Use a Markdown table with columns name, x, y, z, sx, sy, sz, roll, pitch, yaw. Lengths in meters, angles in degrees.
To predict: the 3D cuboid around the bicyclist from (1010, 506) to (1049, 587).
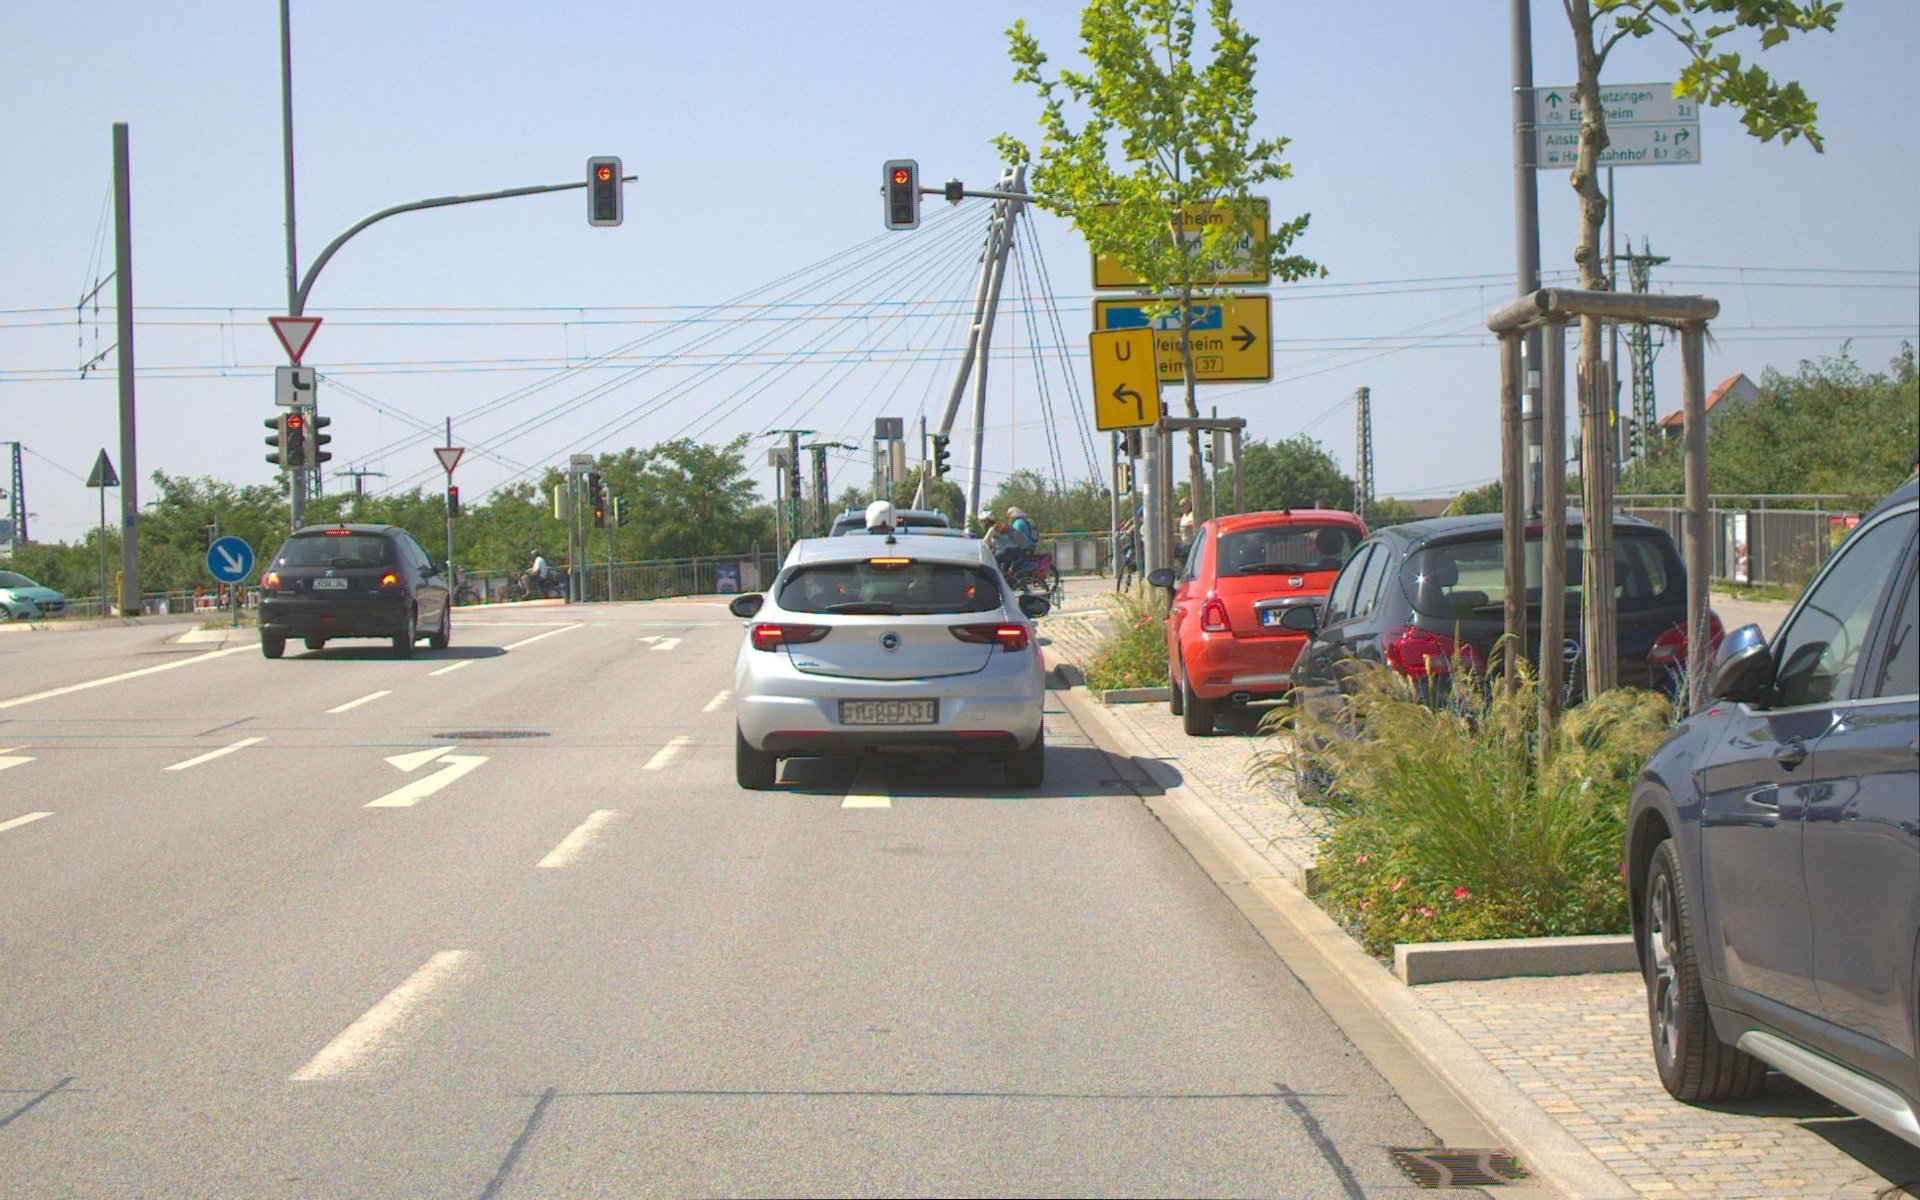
| name | x | y | z | sx | sy | sz | roll | pitch | yaw |
| --- | --- | --- | --- | --- | --- | --- | --- | --- | --- |
| bicyclist | 1.298 | -1.000 | 64.253 | 0.718 | 1.499 | 0.824 | 0 | 0 | 0 |

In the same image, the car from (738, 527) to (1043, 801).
| name | x | y | z | sx | sy | sz | roll | pitch | yaw |
| --- | --- | --- | --- | --- | --- | --- | --- | --- | --- |
| car | -0.408 | 0.312 | 21.198 | 1.690 | 1.514 | 4.271 | 0 | 1 | -1 |

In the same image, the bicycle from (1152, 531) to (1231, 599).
| name | x | y | z | sx | sy | sz | roll | pitch | yaw |
| --- | --- | --- | --- | --- | --- | --- | --- | --- | --- |
| bicycle | 3.955 | -0.586 | 58.494 | 0.676 | 1.123 | 2.363 | 1 | 1 | 20 |

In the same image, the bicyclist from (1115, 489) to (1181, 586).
| name | x | y | z | sx | sy | sz | roll | pitch | yaw |
| --- | --- | --- | --- | --- | --- | --- | --- | --- | --- |
| bicyclist | 3.053 | -1.012 | 55.725 | 0.861 | 1.554 | 0.824 | 1 | 0 | 17 |

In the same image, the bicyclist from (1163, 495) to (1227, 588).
| name | x | y | z | sx | sy | sz | roll | pitch | yaw |
| --- | --- | --- | --- | --- | --- | --- | --- | --- | --- |
| bicyclist | 4.014 | -0.993 | 58.676 | 0.821 | 1.563 | 0.947 | 1 | 0 | 21 |

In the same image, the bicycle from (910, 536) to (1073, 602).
| name | x | y | z | sx | sy | sz | roll | pitch | yaw |
| --- | --- | --- | --- | --- | --- | --- | --- | --- | --- |
| bicycle | 0.488 | -0.483 | 53.118 | 2.504 | 1.003 | 0.605 | 0 | 1 | 1 |

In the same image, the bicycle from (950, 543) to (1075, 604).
| name | x | y | z | sx | sy | sz | roll | pitch | yaw |
| --- | --- | --- | --- | --- | --- | --- | --- | --- | --- |
| bicycle | 0.976 | -0.493 | 64.245 | 2.319 | 1.129 | 0.637 | 0 | 1 | 1 |

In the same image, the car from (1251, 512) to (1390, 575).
| name | x | y | z | sx | sy | sz | roll | pitch | yaw |
| --- | --- | --- | --- | --- | --- | --- | --- | --- | --- |
| car | 9.855 | -1.537 | 94.065 | 3.379 | 1.650 | 1.648 | 1 | 0 | -18 |

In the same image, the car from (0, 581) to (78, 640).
| name | x | y | z | sx | sy | sz | roll | pitch | yaw |
| --- | --- | --- | --- | --- | --- | --- | --- | --- | --- |
| car | -23.297 | 0.243 | 83.547 | 3.798 | 1.357 | 1.529 | 0 | 2 | 37 |

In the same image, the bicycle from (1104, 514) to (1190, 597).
| name | x | y | z | sx | sy | sz | roll | pitch | yaw |
| --- | --- | --- | --- | --- | --- | --- | --- | --- | --- |
| bicycle | 3.042 | -0.728 | 55.662 | 0.726 | 1.130 | 2.531 | -4 | 4 | 17 |

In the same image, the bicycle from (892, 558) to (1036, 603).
| name | x | y | z | sx | sy | sz | roll | pitch | yaw |
| --- | --- | --- | --- | --- | --- | --- | --- | --- | --- |
| bicycle | 0.069 | -0.307 | 54.236 | 2.246 | 0.690 | 0.516 | 0 | 1 | 2 |

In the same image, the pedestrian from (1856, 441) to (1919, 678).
| name | x | y | z | sx | sy | sz | roll | pitch | yaw |
| --- | --- | --- | --- | --- | --- | --- | --- | --- | --- |
| pedestrian | 7.546 | -0.315 | 27.000 | 0.758 | 1.823 | 0.885 | 1 | 0 | 0 |

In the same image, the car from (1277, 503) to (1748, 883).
| name | x | y | z | sx | sy | sz | roll | pitch | yaw |
| --- | --- | --- | --- | --- | --- | --- | --- | --- | --- |
| car | 2.546 | 0.351 | 16.585 | 1.581 | 1.550 | 3.547 | -3 | 2 | -1 |

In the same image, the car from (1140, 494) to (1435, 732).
| name | x | y | z | sx | sy | sz | roll | pitch | yaw |
| --- | --- | --- | --- | --- | --- | --- | --- | --- | --- |
| car | 2.304 | 0.066 | 25.071 | 1.669 | 1.534 | 3.917 | -2 | 1 | -1 |

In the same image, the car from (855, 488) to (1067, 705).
| name | x | y | z | sx | sy | sz | roll | pitch | yaw |
| --- | --- | --- | --- | --- | --- | --- | --- | --- | --- |
| car | -0.018 | -0.047 | 28.826 | 1.634 | 1.668 | 3.745 | 1 | 1 | -1 |

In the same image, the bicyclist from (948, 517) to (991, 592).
| name | x | y | z | sx | sy | sz | roll | pitch | yaw |
| --- | --- | --- | --- | --- | --- | --- | --- | --- | --- |
| bicyclist | 0.154 | -0.712 | 54.232 | 0.657 | 1.171 | 0.731 | 1 | 0 | 1 |

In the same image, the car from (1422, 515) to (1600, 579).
| name | x | y | z | sx | sy | sz | roll | pitch | yaw |
| --- | --- | --- | --- | --- | --- | --- | --- | --- | --- |
| car | 14.765 | -1.410 | 92.153 | 4.244 | 1.668 | 2.001 | 0 | 1 | -17 |

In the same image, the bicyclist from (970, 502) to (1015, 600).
| name | x | y | z | sx | sy | sz | roll | pitch | yaw |
| --- | --- | --- | --- | --- | --- | --- | --- | --- | --- |
| bicyclist | 0.503 | -0.757 | 53.134 | 0.657 | 1.497 | 0.844 | 1 | 0 | 1 |

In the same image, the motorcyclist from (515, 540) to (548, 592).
| name | x | y | z | sx | sy | sz | roll | pitch | yaw |
| --- | --- | --- | --- | --- | --- | --- | --- | --- | --- |
| motorcyclist | -12.270 | -0.971 | 98.408 | 0.809 | 1.471 | 0.885 | 1 | 0 | 0 |

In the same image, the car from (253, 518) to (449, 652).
| name | x | y | z | sx | sy | sz | roll | pitch | yaw |
| --- | --- | --- | --- | --- | --- | --- | --- | --- | --- |
| car | -6.671 | -0.175 | 37.917 | 1.587 | 1.390 | 3.340 | 0 | 1 | -1 |

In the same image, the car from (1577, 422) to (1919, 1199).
| name | x | y | z | sx | sy | sz | roll | pitch | yaw |
| --- | --- | --- | --- | --- | --- | --- | --- | --- | --- |
| car | 2.662 | 0.465 | 7.355 | 1.803 | 1.677 | 4.271 | -3 | 1 | -1 |

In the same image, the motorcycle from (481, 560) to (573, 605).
| name | x | y | z | sx | sy | sz | roll | pitch | yaw |
| --- | --- | --- | --- | --- | --- | --- | --- | --- | --- |
| motorcycle | -12.402 | -0.504 | 98.423 | 2.536 | 1.229 | 0.648 | 1 | 0 | -1 |
